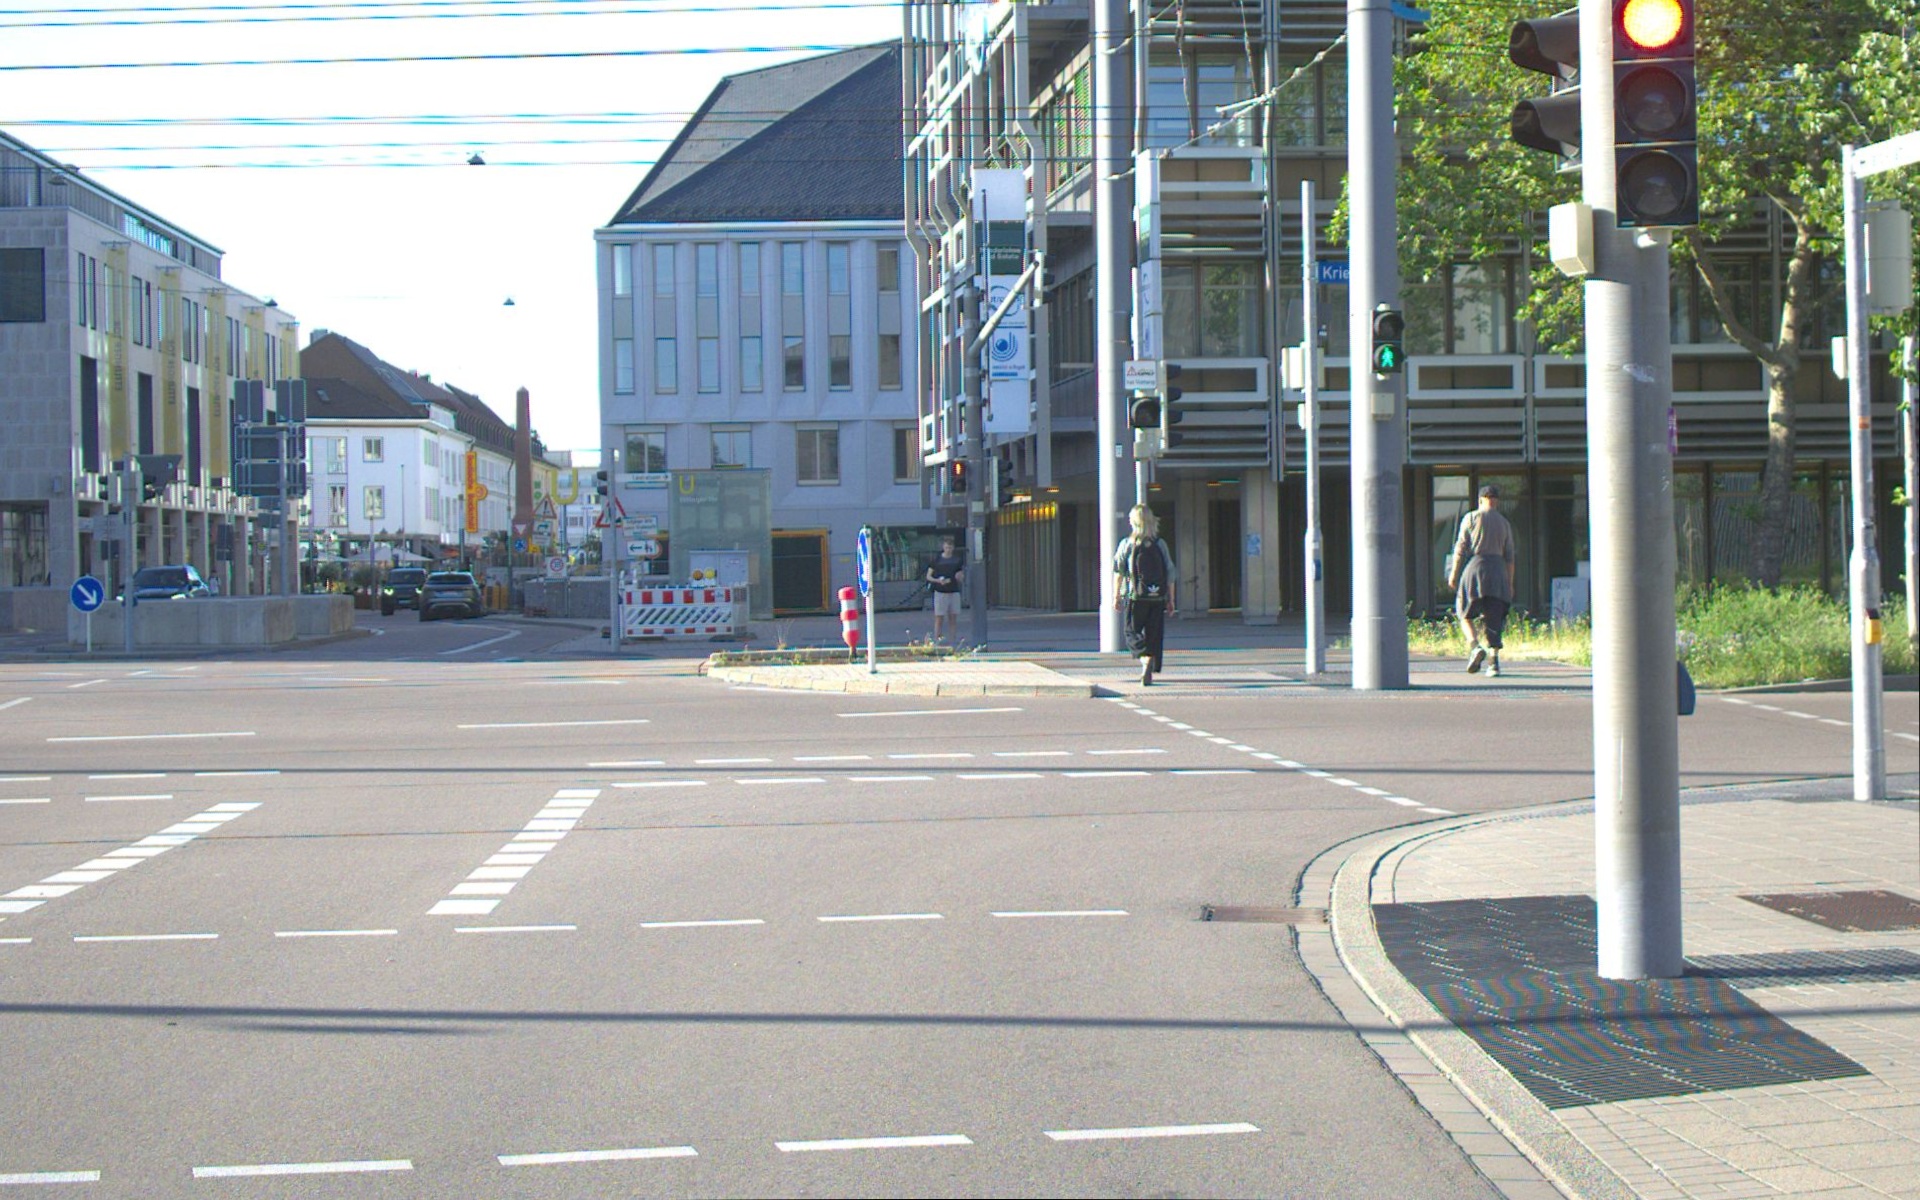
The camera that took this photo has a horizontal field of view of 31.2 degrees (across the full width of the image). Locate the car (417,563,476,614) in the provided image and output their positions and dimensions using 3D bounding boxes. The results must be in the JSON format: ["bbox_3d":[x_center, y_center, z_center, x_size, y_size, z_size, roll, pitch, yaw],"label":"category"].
[{"bbox_3d":[-16.141,-0.373,108.208,1.737,1.525,3.856,1,1,-7],"label":"car"}]

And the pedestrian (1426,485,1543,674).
[{"bbox_3d":[4.714,-0.188,30.946,0.878,1.659,0.965,1,0,-1],"label":"pedestrian"}]

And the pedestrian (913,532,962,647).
[{"bbox_3d":[-0.370,-0.177,57.312,0.788,1.883,0.644,1,0,-1],"label":"pedestrian"}]

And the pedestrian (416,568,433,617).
[{"bbox_3d":[-18.239,-0.254,117.123,0.521,1.674,0.583,1,1,-7],"label":"pedestrian"}]

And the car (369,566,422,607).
[{"bbox_3d":[-23.467,-0.586,143.038,1.797,1.652,4.001,1,1,-4],"label":"car"}]

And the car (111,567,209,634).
[{"bbox_3d":[-20.278,-0.009,87.279,1.797,1.652,4.001,1,1,-4],"label":"car"}]

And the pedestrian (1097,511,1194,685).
[{"bbox_3d":[1.608,-0.021,29.891,0.788,1.487,0.644,1,0,-1],"label":"pedestrian"}]
